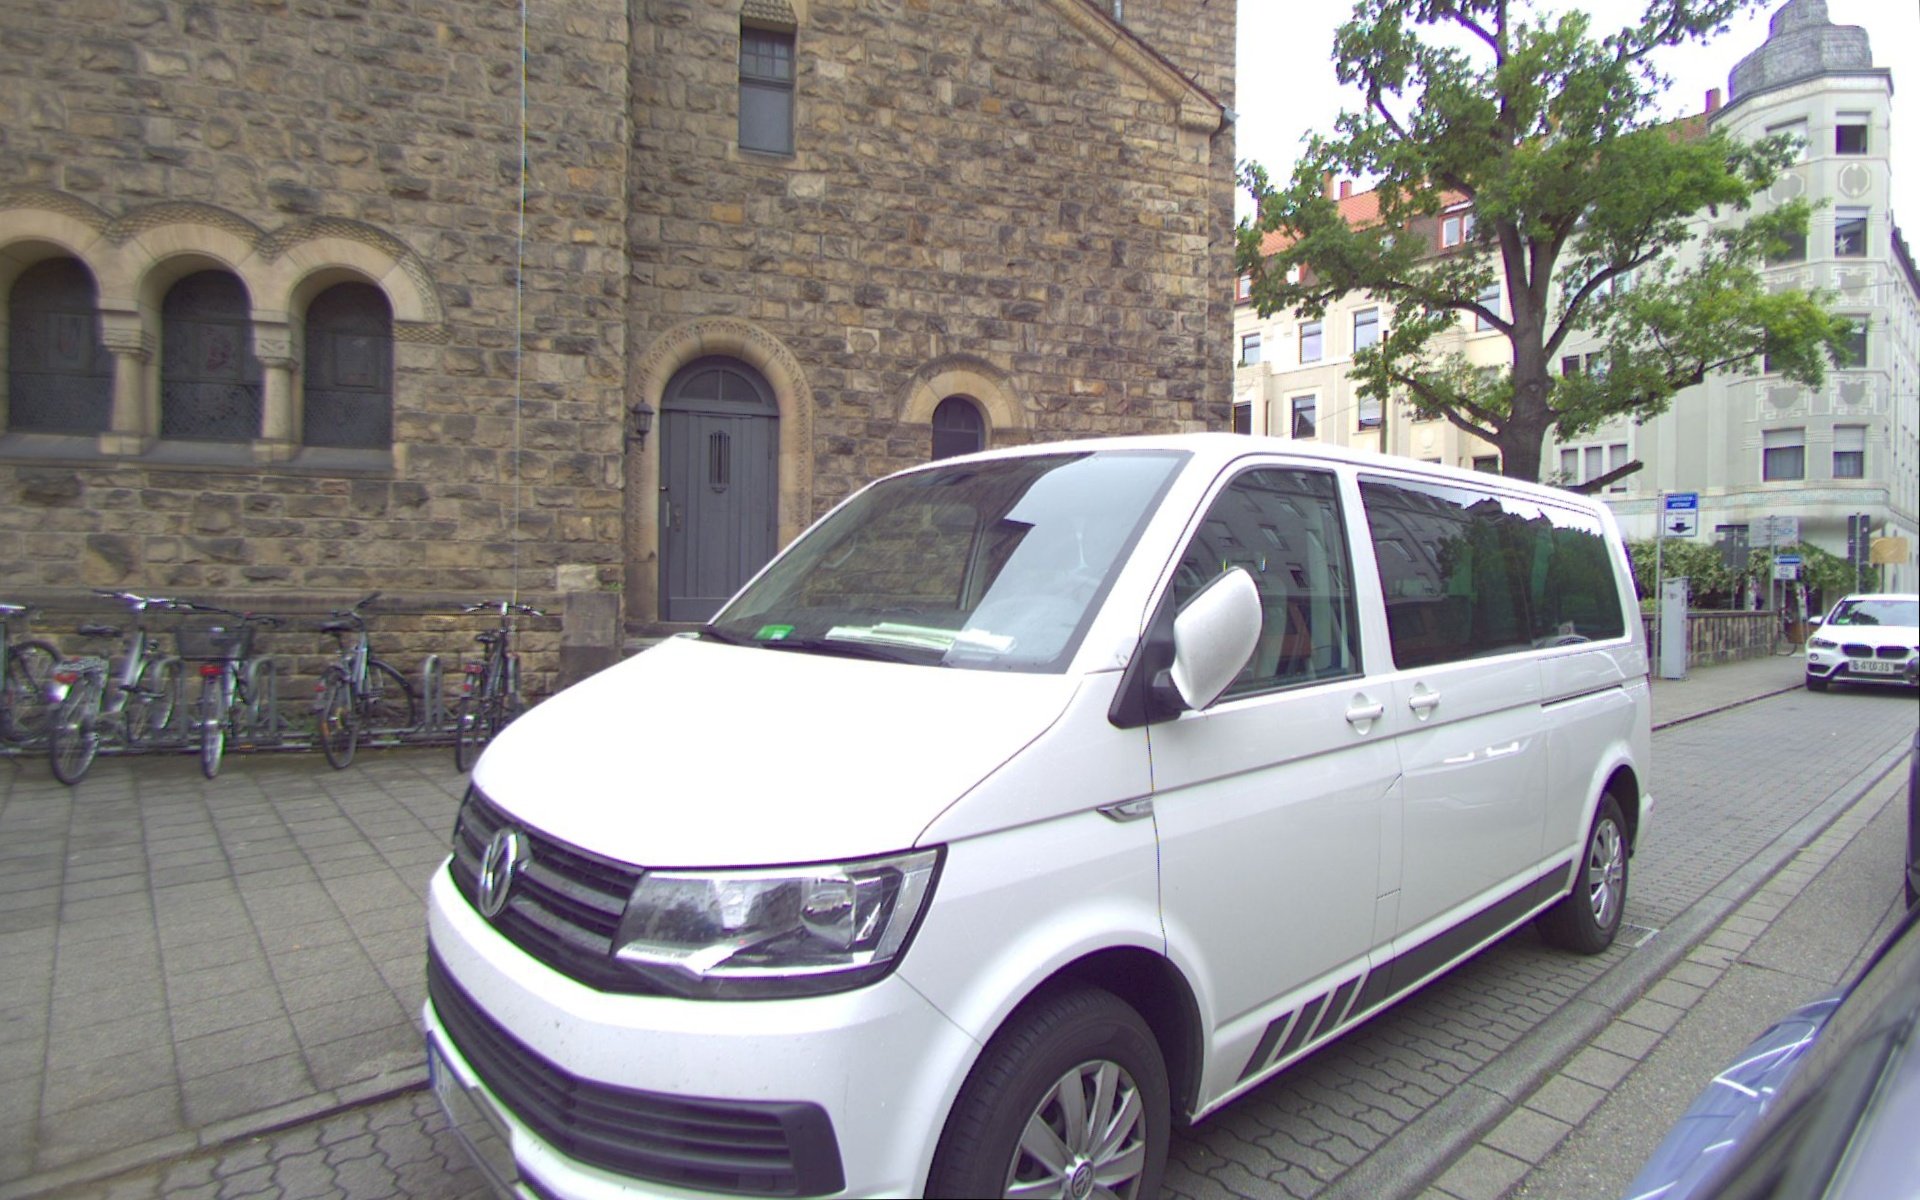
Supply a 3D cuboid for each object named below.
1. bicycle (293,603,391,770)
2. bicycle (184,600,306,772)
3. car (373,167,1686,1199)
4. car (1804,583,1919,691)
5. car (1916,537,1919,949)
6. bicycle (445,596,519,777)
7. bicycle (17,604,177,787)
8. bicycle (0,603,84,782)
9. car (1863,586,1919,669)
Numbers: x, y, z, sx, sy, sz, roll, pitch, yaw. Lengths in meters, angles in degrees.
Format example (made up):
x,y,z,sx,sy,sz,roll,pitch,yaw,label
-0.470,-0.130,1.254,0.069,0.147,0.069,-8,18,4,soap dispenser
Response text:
x,y,z,sx,sy,sz,roll,pitch,yaw,label
-4.443,0.571,7.331,0.304,1.073,1.346,1,0,-18,bicycle
-4.991,0.545,7.126,0.304,1.073,1.386,1,0,-18,bicycle
0.927,0.394,3.714,5.075,1.944,1.807,0,0,-42,car
15.362,0.544,16.535,3.930,1.585,1.818,0,0,-41,car
6.043,0.608,4.794,3.930,1.706,1.818,0,0,-41,car
-3.397,0.560,7.241,0.304,1.161,1.346,1,0,-18,bicycle
-5.700,0.573,6.748,0.304,1.073,1.386,1,0,-18,bicycle
-6.098,0.570,6.413,0.304,1.073,1.386,1,0,-18,bicycle
19.791,0.529,20.454,3.930,1.585,1.818,0,0,-41,car
